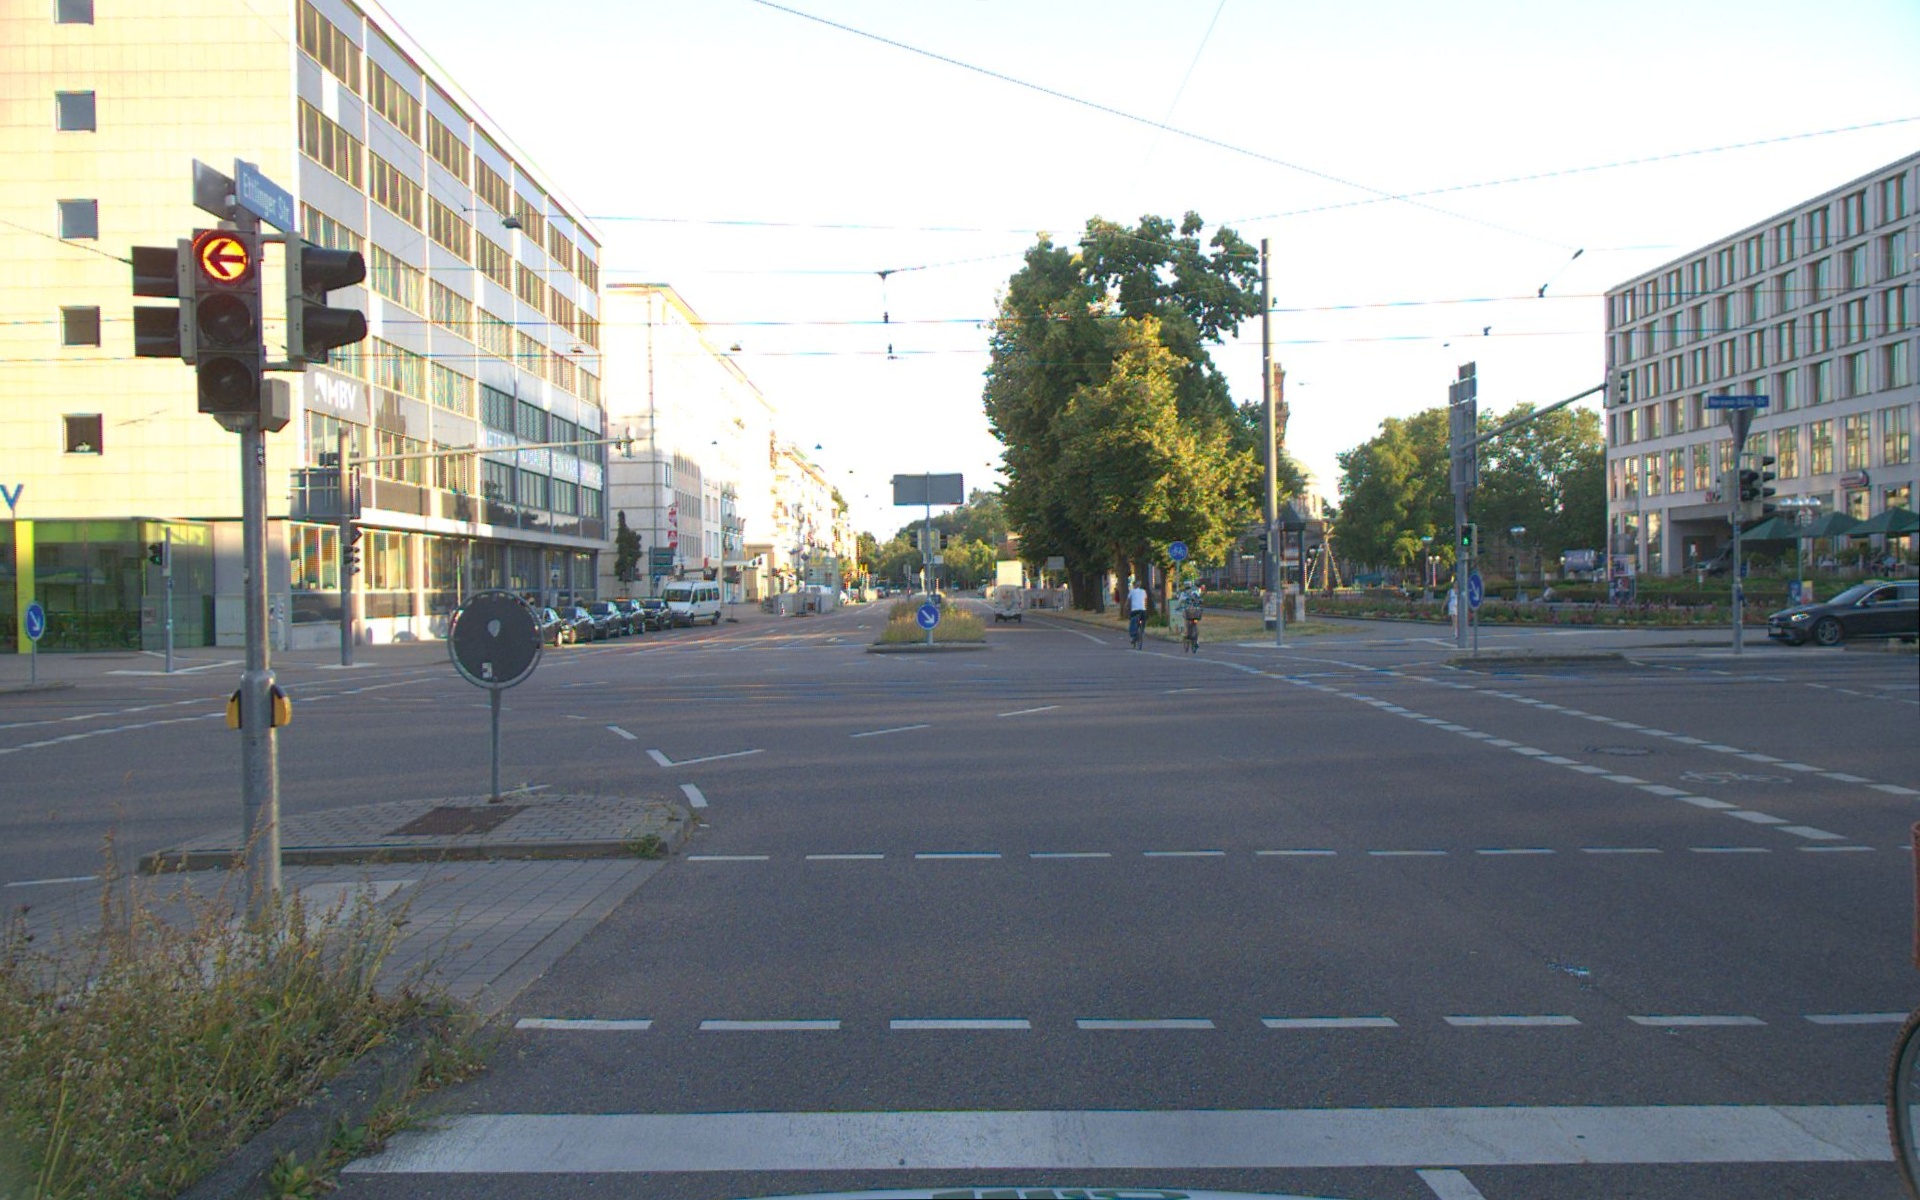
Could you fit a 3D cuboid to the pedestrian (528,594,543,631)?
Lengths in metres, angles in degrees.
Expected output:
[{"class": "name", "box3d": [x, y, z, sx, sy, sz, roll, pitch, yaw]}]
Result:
[{"class": "pedestrian", "box3d": [-19.942, 0.600, 77.657, 0.540, 1.708, 0.500, -1, 0, -1]}]

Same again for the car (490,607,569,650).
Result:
[{"class": "car", "box3d": [-16.001, 1.035, 61.625, 1.882, 1.489, 4.102, -1, 0, -1]}]

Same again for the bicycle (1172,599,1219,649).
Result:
[{"class": "bicycle", "box3d": [5.736, 0.563, 40.445, 0.731, 1.164, 2.505, -1, 0, -1]}]

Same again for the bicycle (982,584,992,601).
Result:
[{"class": "bicycle", "box3d": [3.429, -0.924, 208.077, 0.981, 2.049, 4.002, -1, 0, 4]}]

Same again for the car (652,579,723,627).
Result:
[{"class": "car", "box3d": [-14.935, 0.150, 90.996, 1.958, 2.521, 5.873, -1, 0, 9]}]

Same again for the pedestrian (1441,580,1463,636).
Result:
[{"class": "pedestrian", "box3d": [14.019, 0.222, 47.120, 0.480, 1.566, 0.408, -1, 0, -1]}]

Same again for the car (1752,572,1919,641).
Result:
[{"class": "car", "box3d": [21.958, 0.136, 39.921, 4.724, 1.542, 2.000, -1, 0, 1]}]

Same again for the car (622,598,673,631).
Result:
[{"class": "car", "box3d": [-15.953, 0.737, 84.521, 1.882, 1.595, 3.999, -1, 0, -1]}]

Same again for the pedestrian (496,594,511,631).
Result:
[{"class": "pedestrian", "box3d": [-21.431, 0.570, 77.619, 0.540, 1.708, 0.500, -1, 0, -1]}]

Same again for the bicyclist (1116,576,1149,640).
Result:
[{"class": "bicyclist", "box3d": [4.638, 0.208, 44.498, 0.731, 1.692, 0.873, -1, 0, -1]}]

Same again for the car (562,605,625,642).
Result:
[{"class": "car", "box3d": [-16.131, 1.015, 72.986, 1.882, 1.489, 3.999, -1, 0, -1]}]

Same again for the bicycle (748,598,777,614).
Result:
[{"class": "bicycle", "box3d": [-15.121, 0.445, 126.555, 2.161, 1.131, 0.689, -1, 0, -2]}]

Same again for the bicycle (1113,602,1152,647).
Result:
[{"class": "bicycle", "box3d": [4.668, 0.650, 44.806, 0.731, 1.164, 2.505, -1, 0, -1]}]

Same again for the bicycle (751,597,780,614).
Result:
[{"class": "bicycle", "box3d": [-15.147, 0.409, 128.658, 2.161, 1.258, 0.839, -1, 0, -2]}]

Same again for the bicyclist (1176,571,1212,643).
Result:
[{"class": "bicyclist", "box3d": [5.724, 0.161, 40.450, 0.731, 1.720, 0.799, -1, 0, -1]}]

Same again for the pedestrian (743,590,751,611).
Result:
[{"class": "pedestrian", "box3d": [-21.157, 0.010, 164.639, 0.666, 2.049, 0.545, -2, 0, -1]}]

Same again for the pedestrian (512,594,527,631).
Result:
[{"class": "pedestrian", "box3d": [-20.776, 0.591, 77.944, 0.540, 1.708, 0.500, -1, 0, -1]}]

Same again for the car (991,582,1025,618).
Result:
[{"class": "car", "box3d": [2.311, -0.007, 80.910, 1.379, 1.670, 3.998, -1, 0, -2]}]

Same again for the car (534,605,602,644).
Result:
[{"class": "car", "box3d": [-16.111, 0.995, 68.172, 1.882, 1.489, 3.999, -1, 0, -1]}]

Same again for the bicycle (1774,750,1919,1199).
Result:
[{"class": "bicycle", "box3d": [2.191, 0.930, 2.813, 0.599, 1.152, 2.004, 1, 0, -1]}]

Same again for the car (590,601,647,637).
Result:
[{"class": "car", "box3d": [-16.127, 0.885, 78.290, 1.882, 1.595, 3.999, -1, 0, -1]}]

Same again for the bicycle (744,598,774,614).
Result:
[{"class": "bicycle", "box3d": [-15.211, 0.465, 125.239, 2.161, 1.131, 0.618, -1, 0, -3]}]
